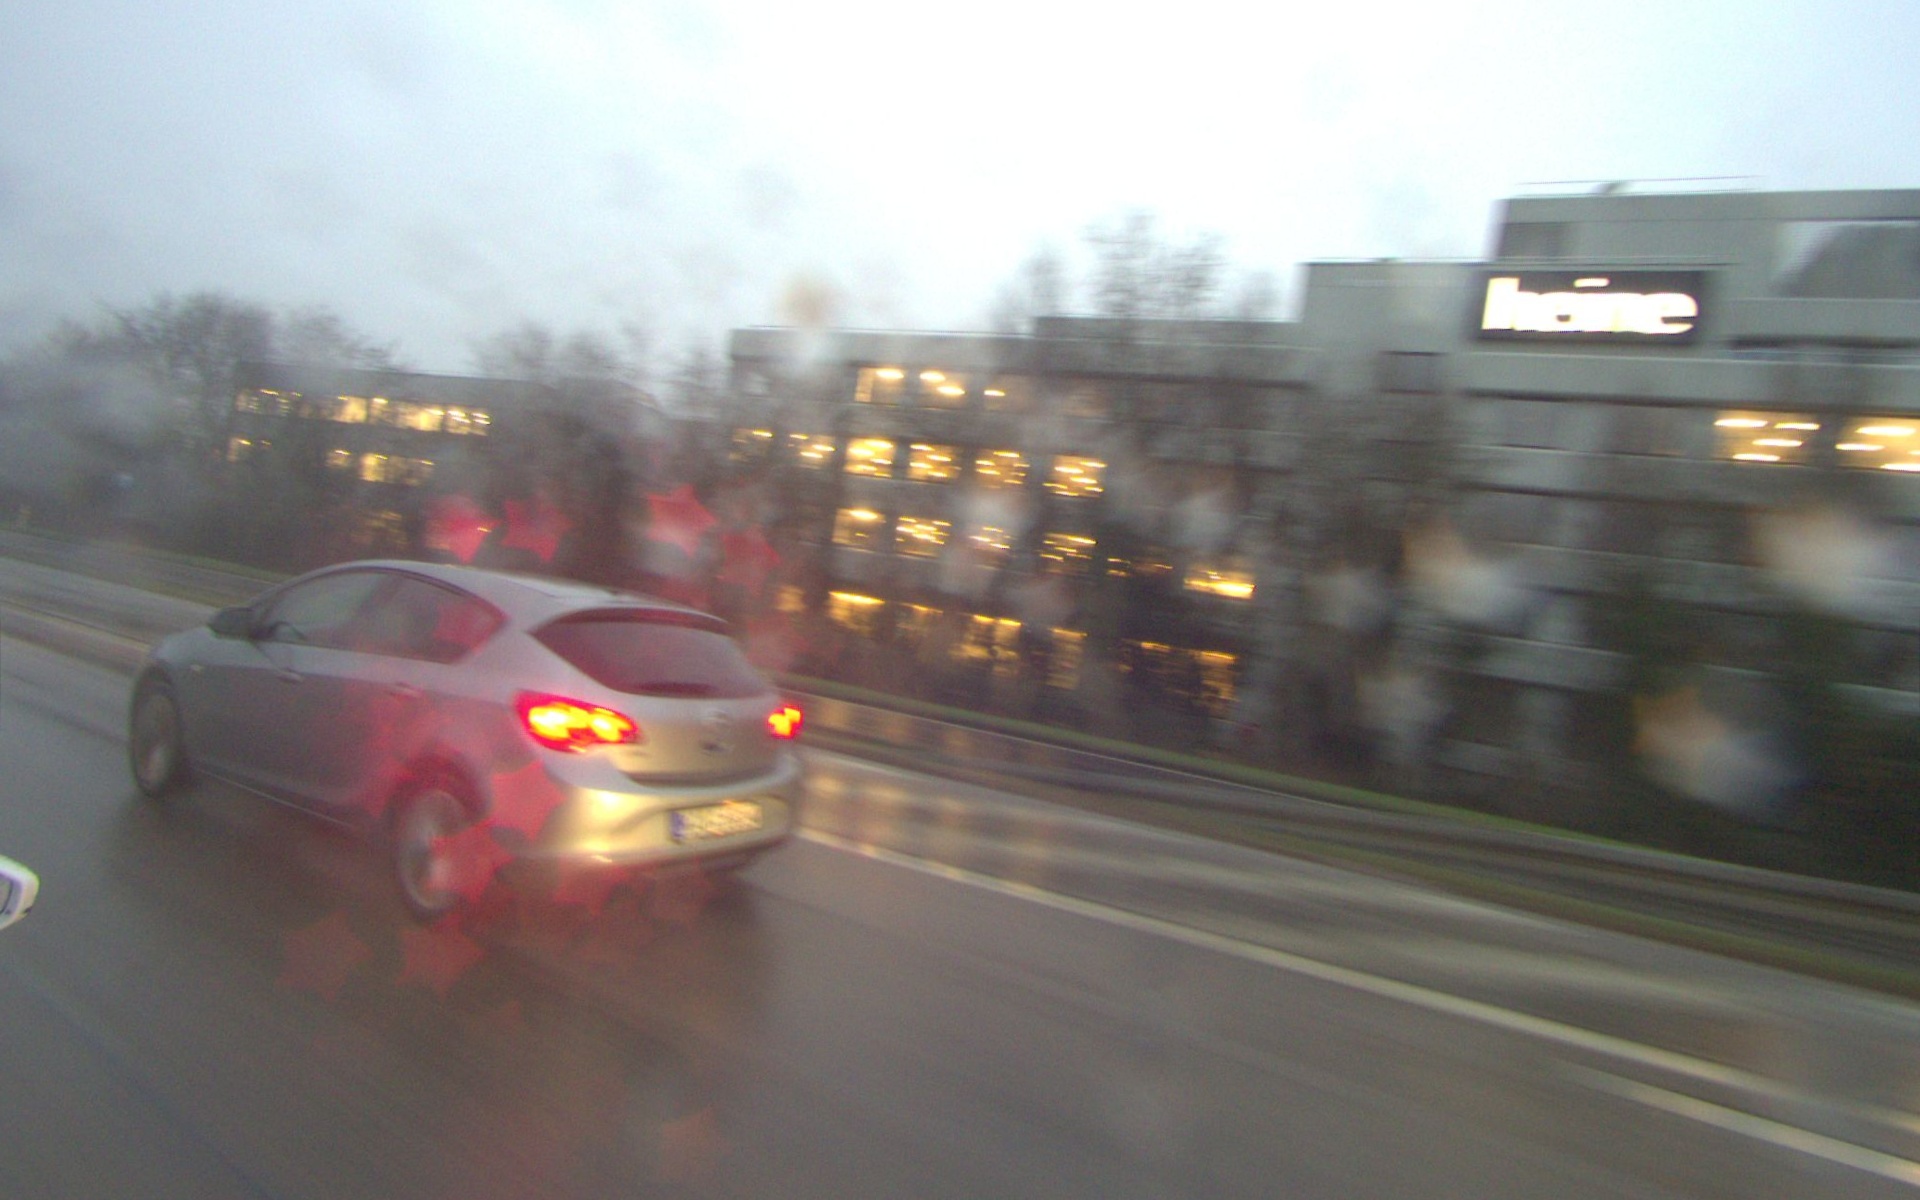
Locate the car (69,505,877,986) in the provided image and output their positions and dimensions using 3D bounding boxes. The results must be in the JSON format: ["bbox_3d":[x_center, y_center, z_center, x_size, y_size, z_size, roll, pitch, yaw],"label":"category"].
[{"bbox_3d":[-2.770,0.512,5.495,4.191,1.519,1.853,7,-2,31],"label":"car"}]
